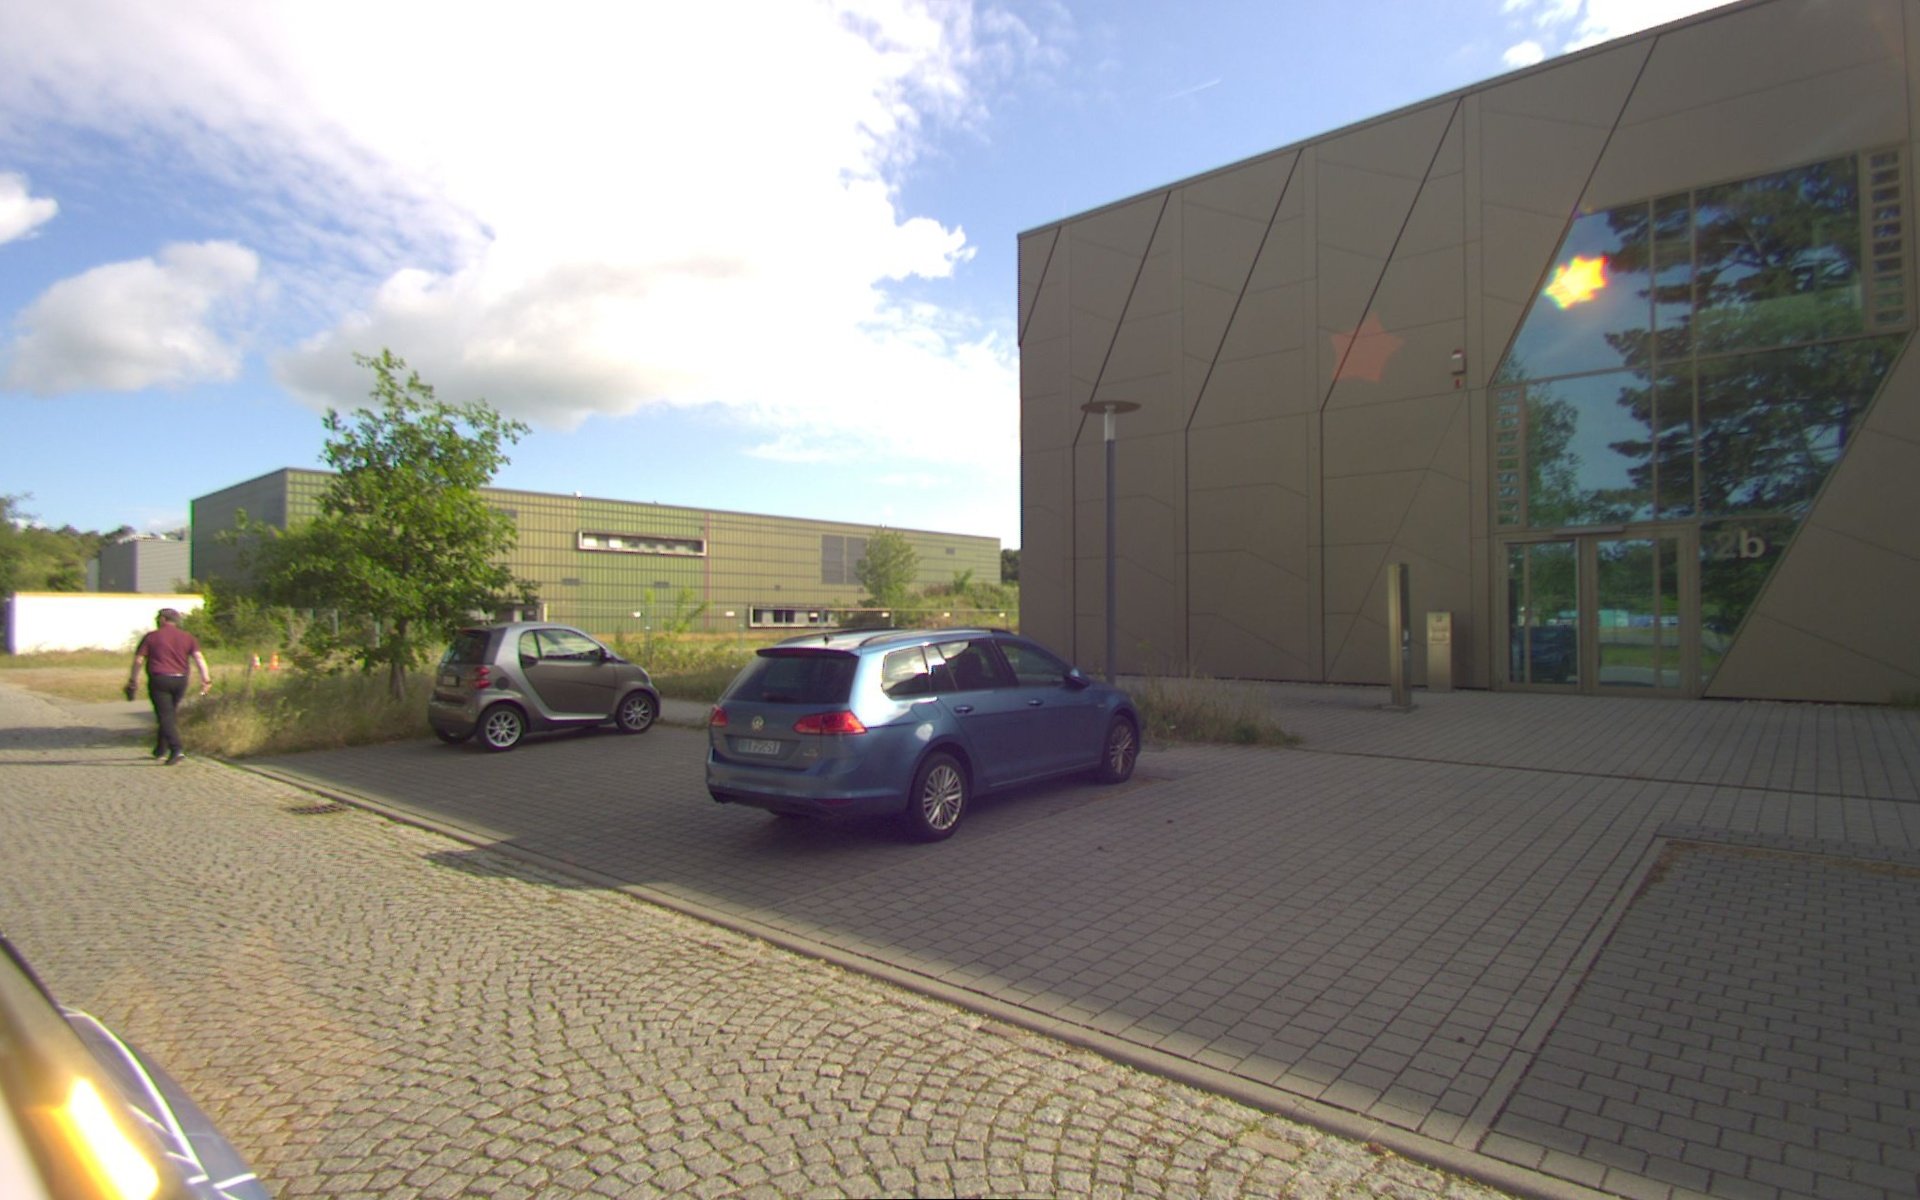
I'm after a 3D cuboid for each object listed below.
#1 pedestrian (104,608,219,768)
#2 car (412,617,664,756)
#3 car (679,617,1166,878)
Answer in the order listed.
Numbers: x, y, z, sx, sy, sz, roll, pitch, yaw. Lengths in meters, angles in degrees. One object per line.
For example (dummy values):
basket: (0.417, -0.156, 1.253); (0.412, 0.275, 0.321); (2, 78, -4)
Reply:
pedestrian: (-9.454, 0.996, 11.981); (1.151, 1.785, 0.796); (-1, -2, 37)
car: (-5.502, 1.046, 13.345); (1.518, 1.554, 2.671); (-1, 0, 40)
car: (-0.042, 0.941, 8.374); (1.679, 1.475, 4.215); (-1, 0, 39)
